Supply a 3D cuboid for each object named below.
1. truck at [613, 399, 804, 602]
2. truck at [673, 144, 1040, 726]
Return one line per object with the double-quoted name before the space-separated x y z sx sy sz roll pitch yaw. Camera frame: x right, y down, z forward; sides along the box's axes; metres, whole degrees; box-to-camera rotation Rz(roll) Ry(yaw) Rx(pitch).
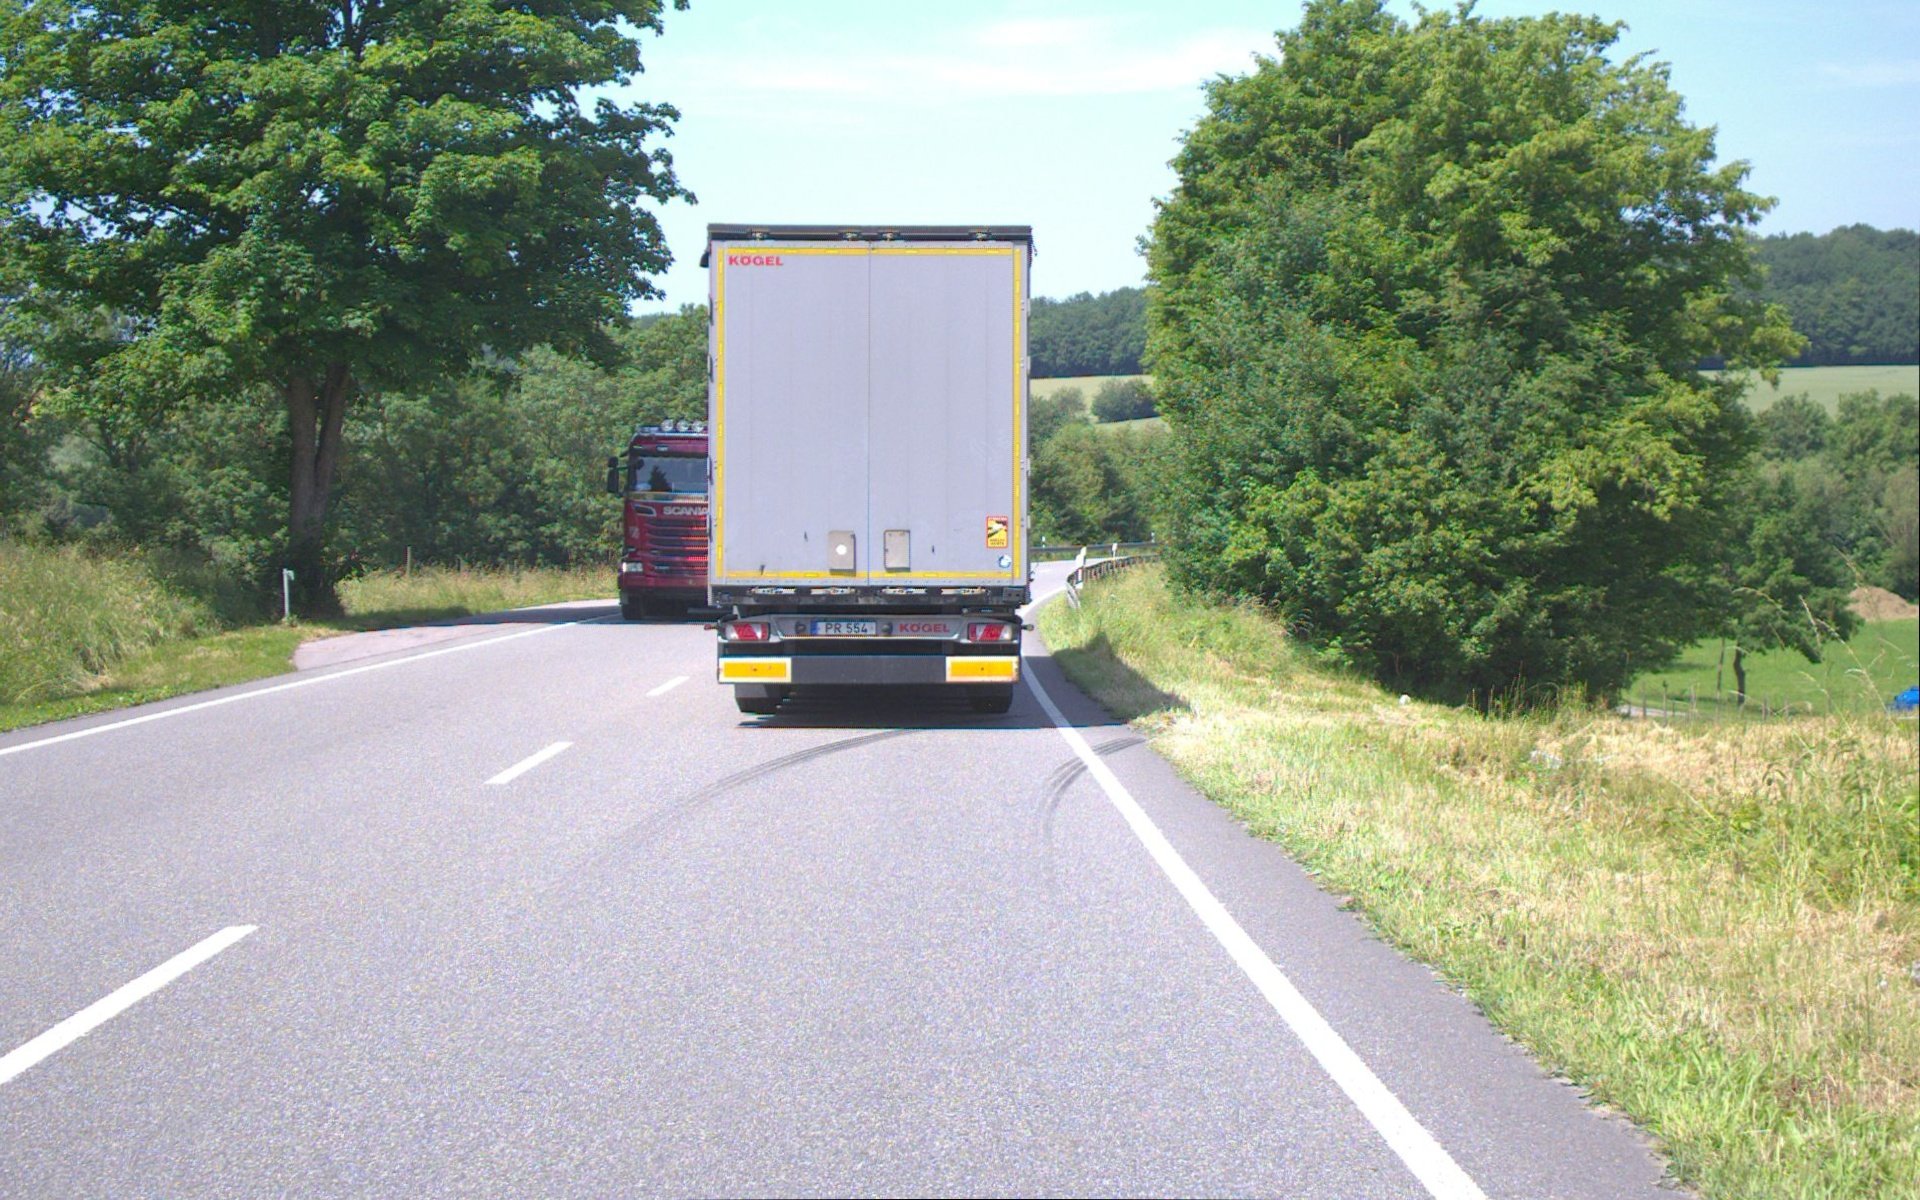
"truck" -4.576 -1.805 63.979 2.531 3.547 7.761 0 1 4
"truck" -0.841 -1.435 32.853 2.817 4.517 11.769 1 1 0
